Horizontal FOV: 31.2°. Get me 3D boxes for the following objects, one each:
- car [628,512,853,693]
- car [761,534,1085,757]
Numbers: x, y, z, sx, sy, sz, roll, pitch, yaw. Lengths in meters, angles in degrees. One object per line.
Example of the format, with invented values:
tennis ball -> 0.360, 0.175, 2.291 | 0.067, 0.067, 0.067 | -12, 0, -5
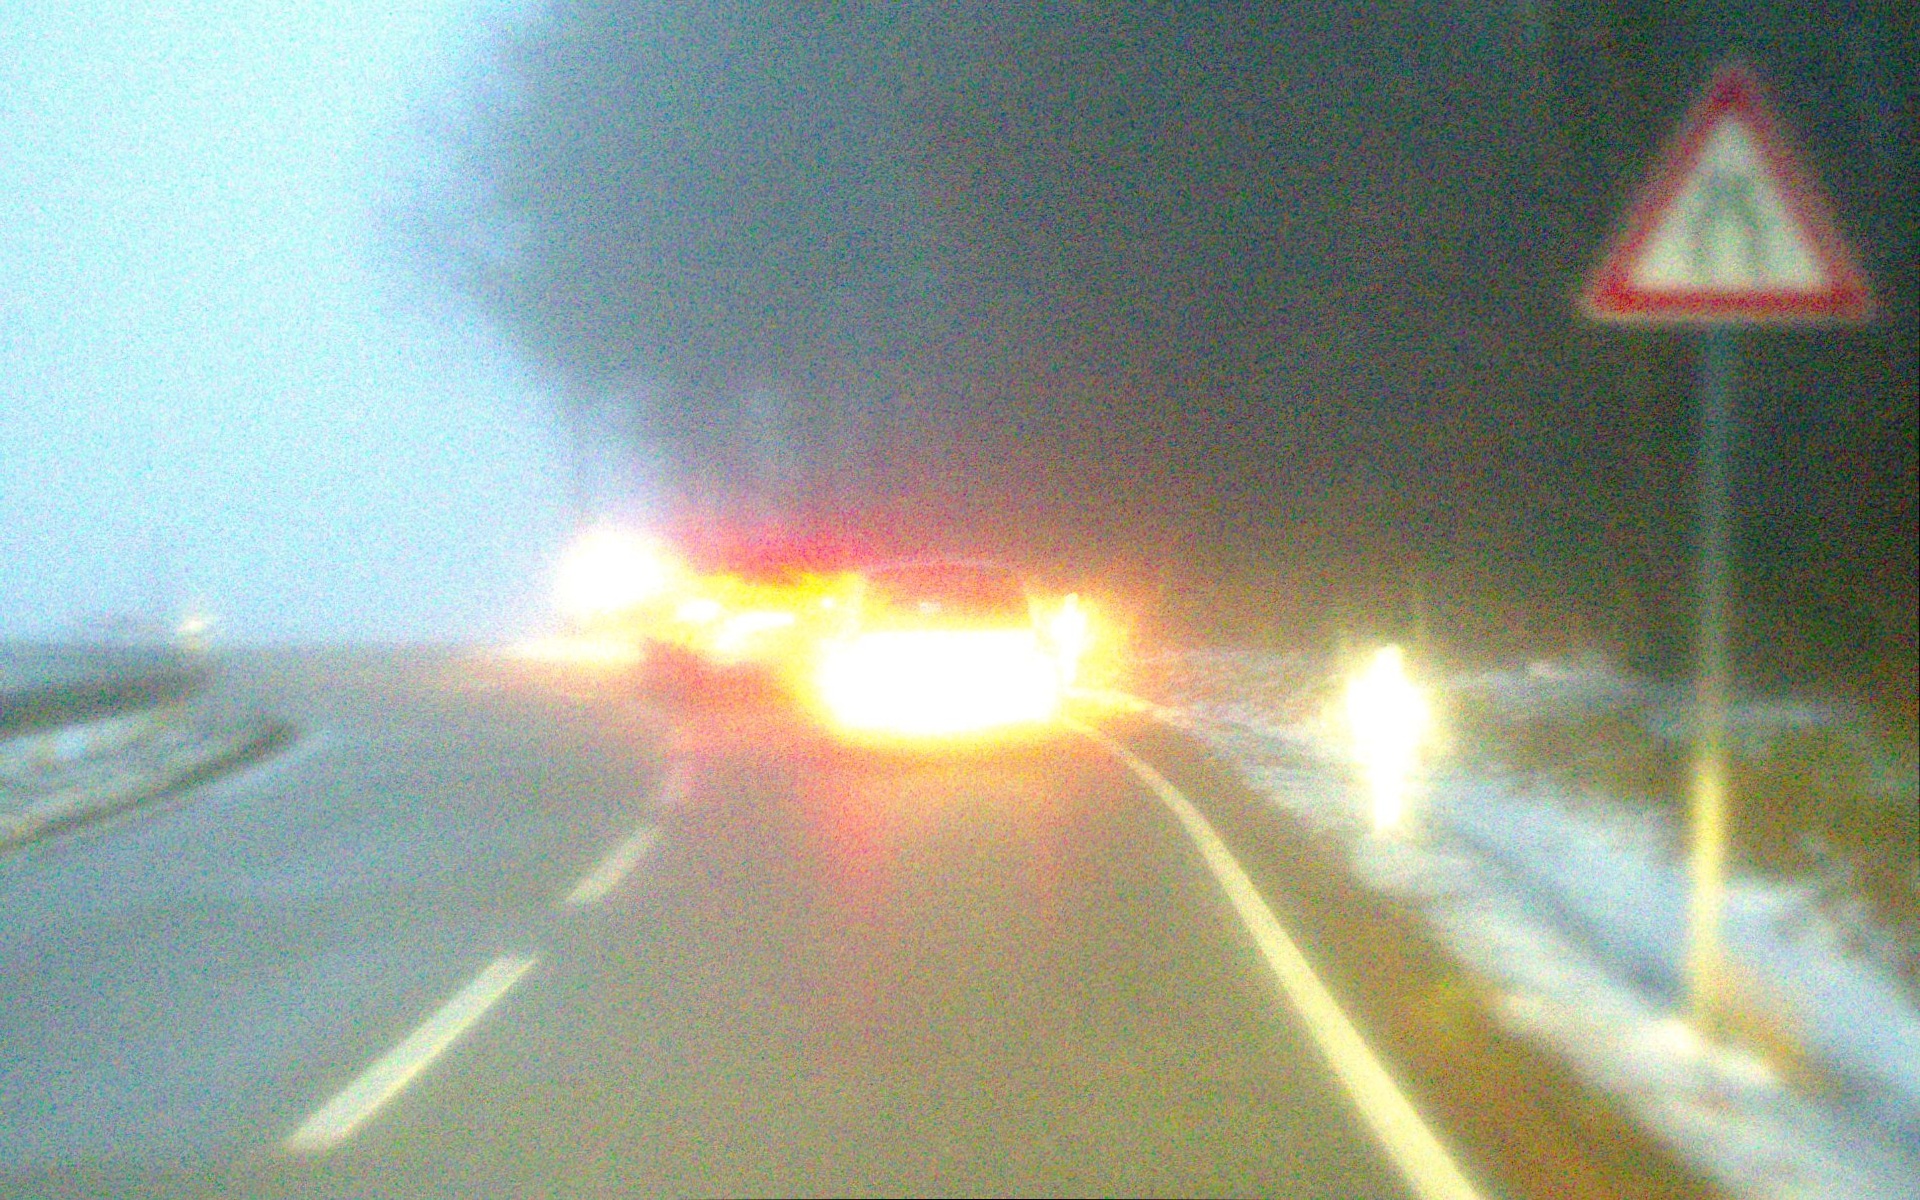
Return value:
car -> -2.410, -0.011, 36.823 | 1.993, 1.777, 4.001 | 2, 1, -9
car -> -0.356, 0.289, 24.719 | 1.945, 1.376, 4.001 | 3, 0, -5
